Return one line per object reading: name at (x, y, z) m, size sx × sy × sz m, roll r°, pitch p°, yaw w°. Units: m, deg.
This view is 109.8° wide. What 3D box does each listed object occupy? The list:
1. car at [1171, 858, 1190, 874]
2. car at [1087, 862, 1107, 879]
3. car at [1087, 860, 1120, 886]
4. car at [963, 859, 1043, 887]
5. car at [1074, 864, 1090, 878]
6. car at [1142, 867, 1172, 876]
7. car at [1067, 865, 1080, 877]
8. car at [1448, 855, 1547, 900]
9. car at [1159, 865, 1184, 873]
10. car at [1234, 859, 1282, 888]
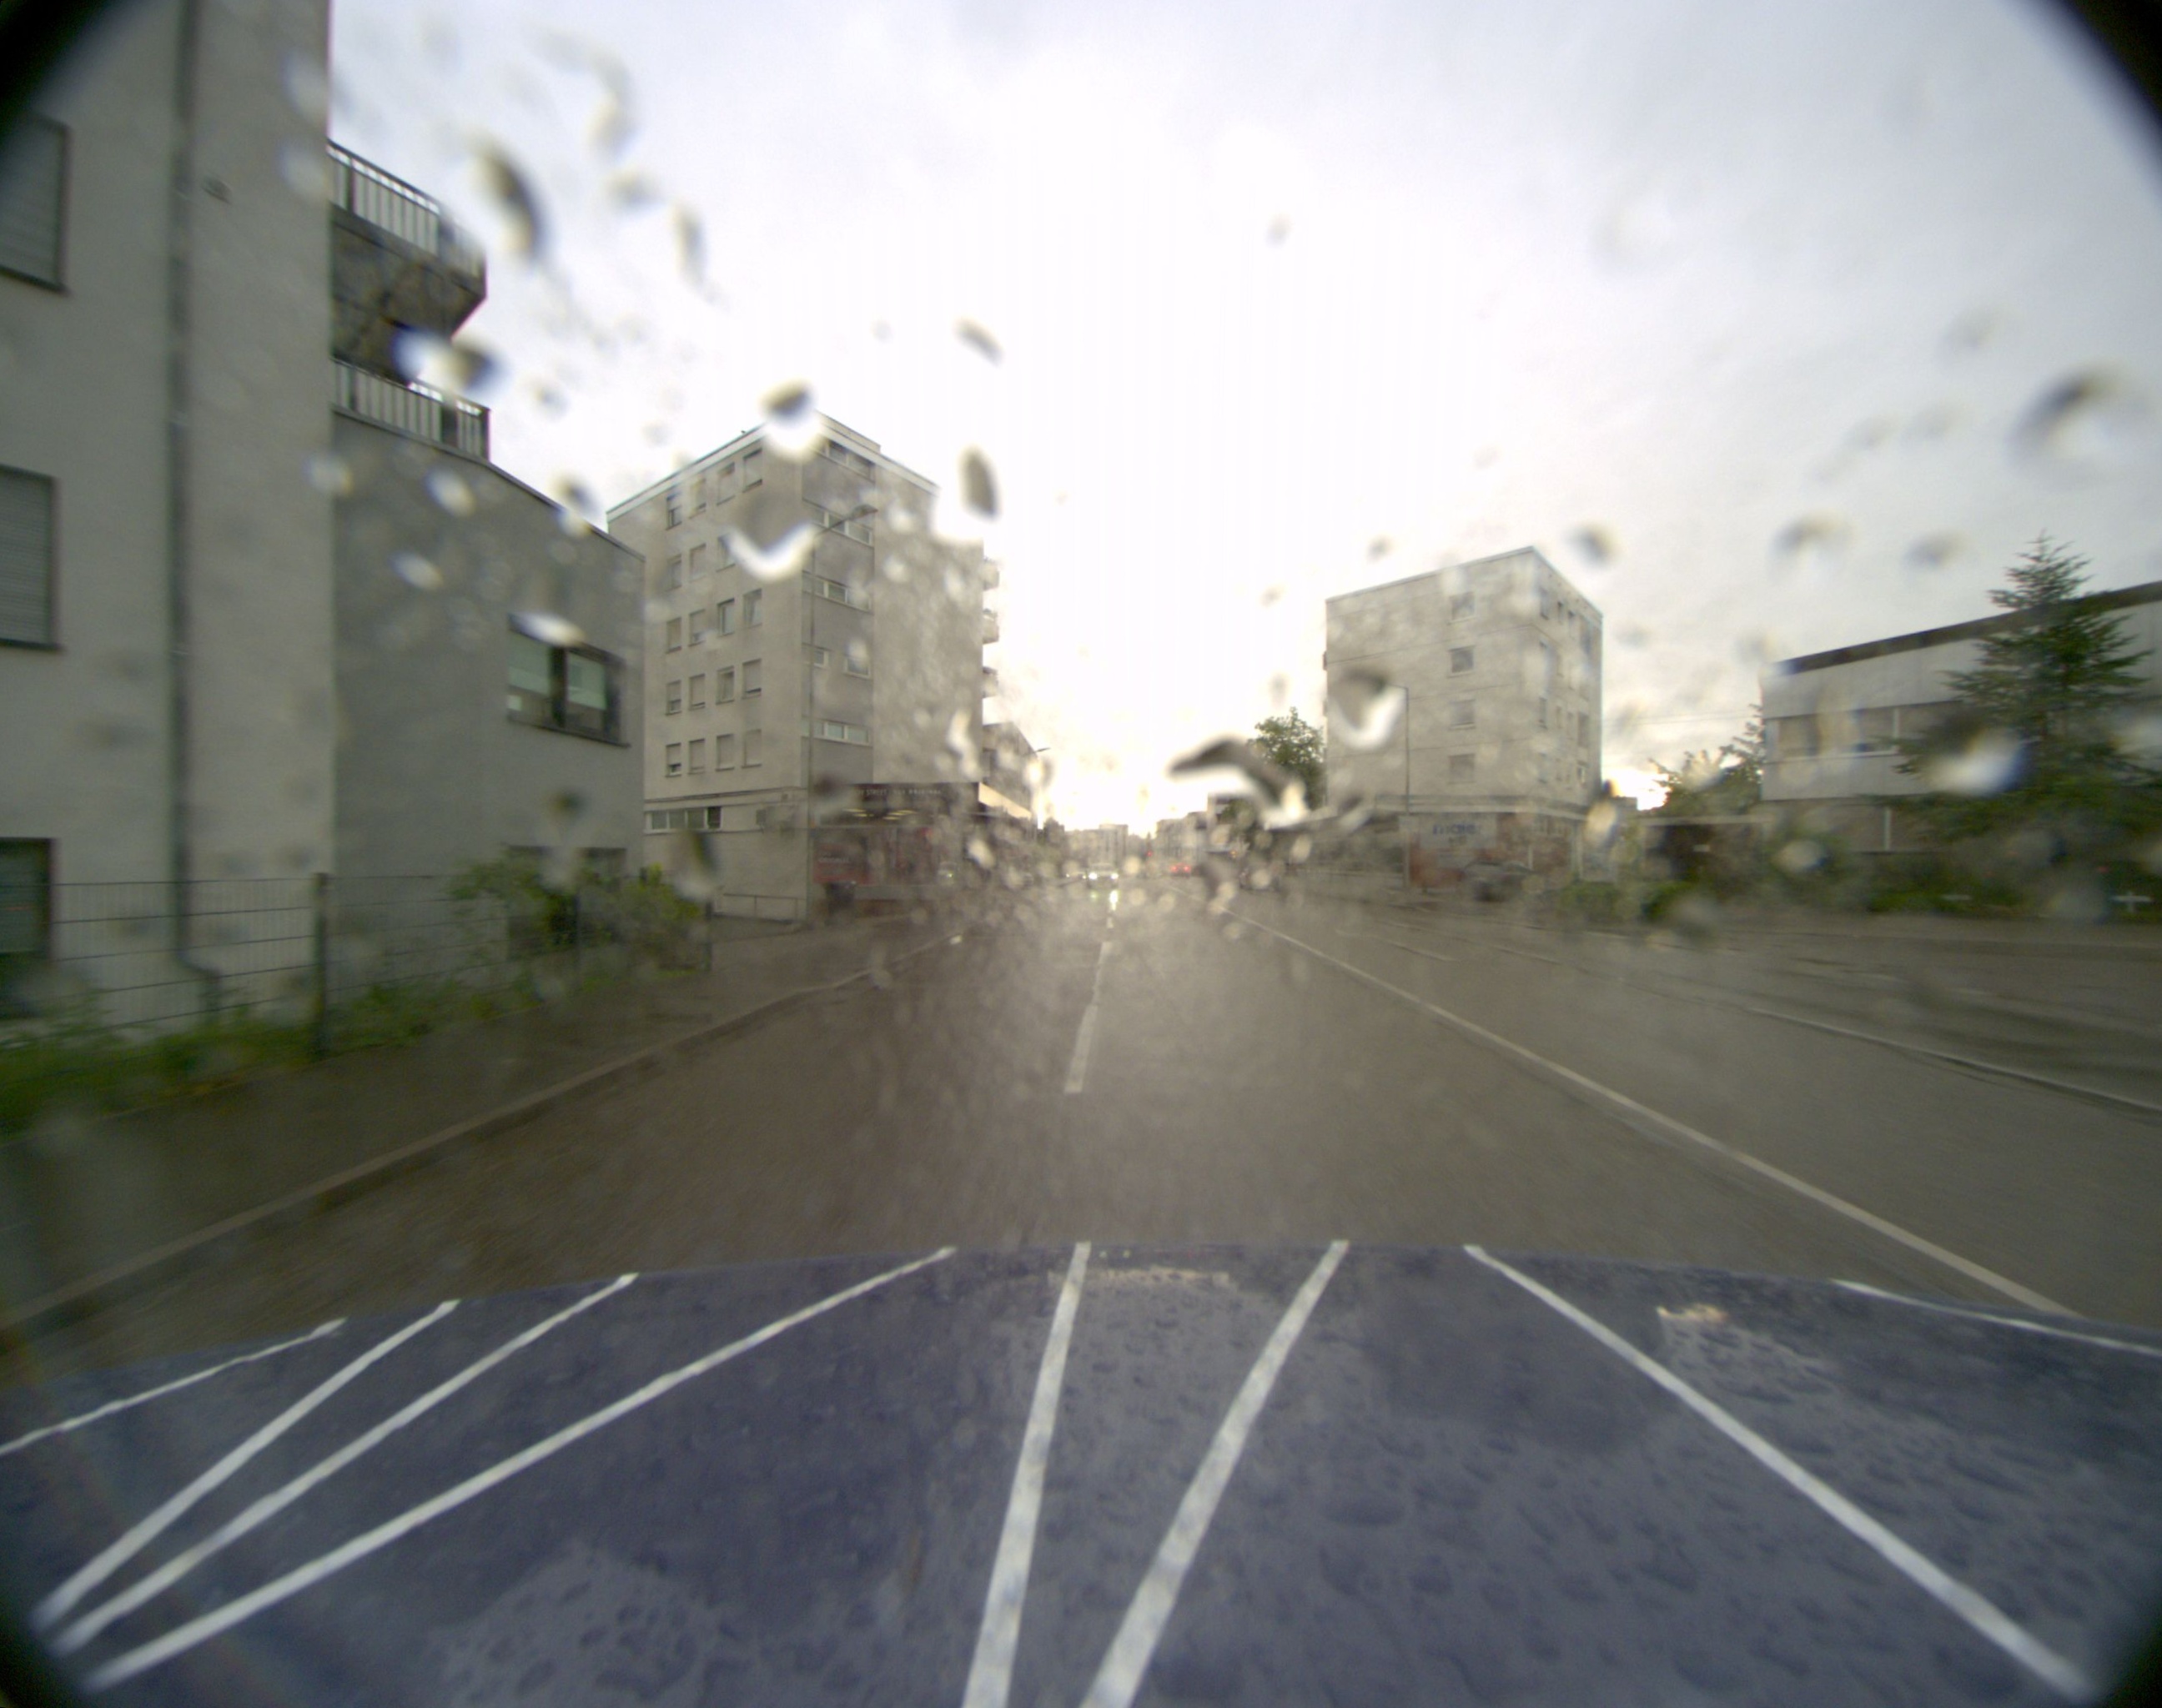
car at (10.185, 1.269, 78.042) m, size 1.806 × 1.547 × 4.321 m, roll -1°, pitch -1°, yaw 7°
car at (1.927, 1.987, 90.713) m, size 1.997 × 2.001 × 4.003 m, roll 0°, pitch -1°, yaw 6°
car at (1.304, 1.113, 44.912) m, size 1.829 × 1.431 × 4.346 m, roll -1°, pitch -1°, yaw 1°
car at (-4.415, 1.088, 42.952) m, size 4.259 × 1.485 × 1.877 m, roll -1°, pitch -2°, yaw 31°
car at (0.199, 2.587, 115.510) m, size 1.997 × 2.001 × 4.003 m, roll 0°, pitch -1°, yaw 6°
car at (14.797, 3.448, 148.448) m, size 5.465 × 1.673 × 2.153 m, roll -1°, pitch -2°, yaw 36°
car at (-1.313, 3.034, 135.763) m, size 1.998 × 2.001 × 4.002 m, roll 0°, pitch -1°, yaw 4°
car at (15.461, 0.798, 28.098) m, size 4.480 × 1.537 × 1.994 m, roll 0°, pitch 0°, yaw -45°
car at (17.069, 2.874, 143.729) m, size 4.621 × 1.487 × 1.930 m, roll 0°, pitch -1°, yaw 5°
car at (9.592, 1.058, 41.384) m, size 1.702 × 1.400 × 4.001 m, roll 3°, pitch -1°, yaw 1°
